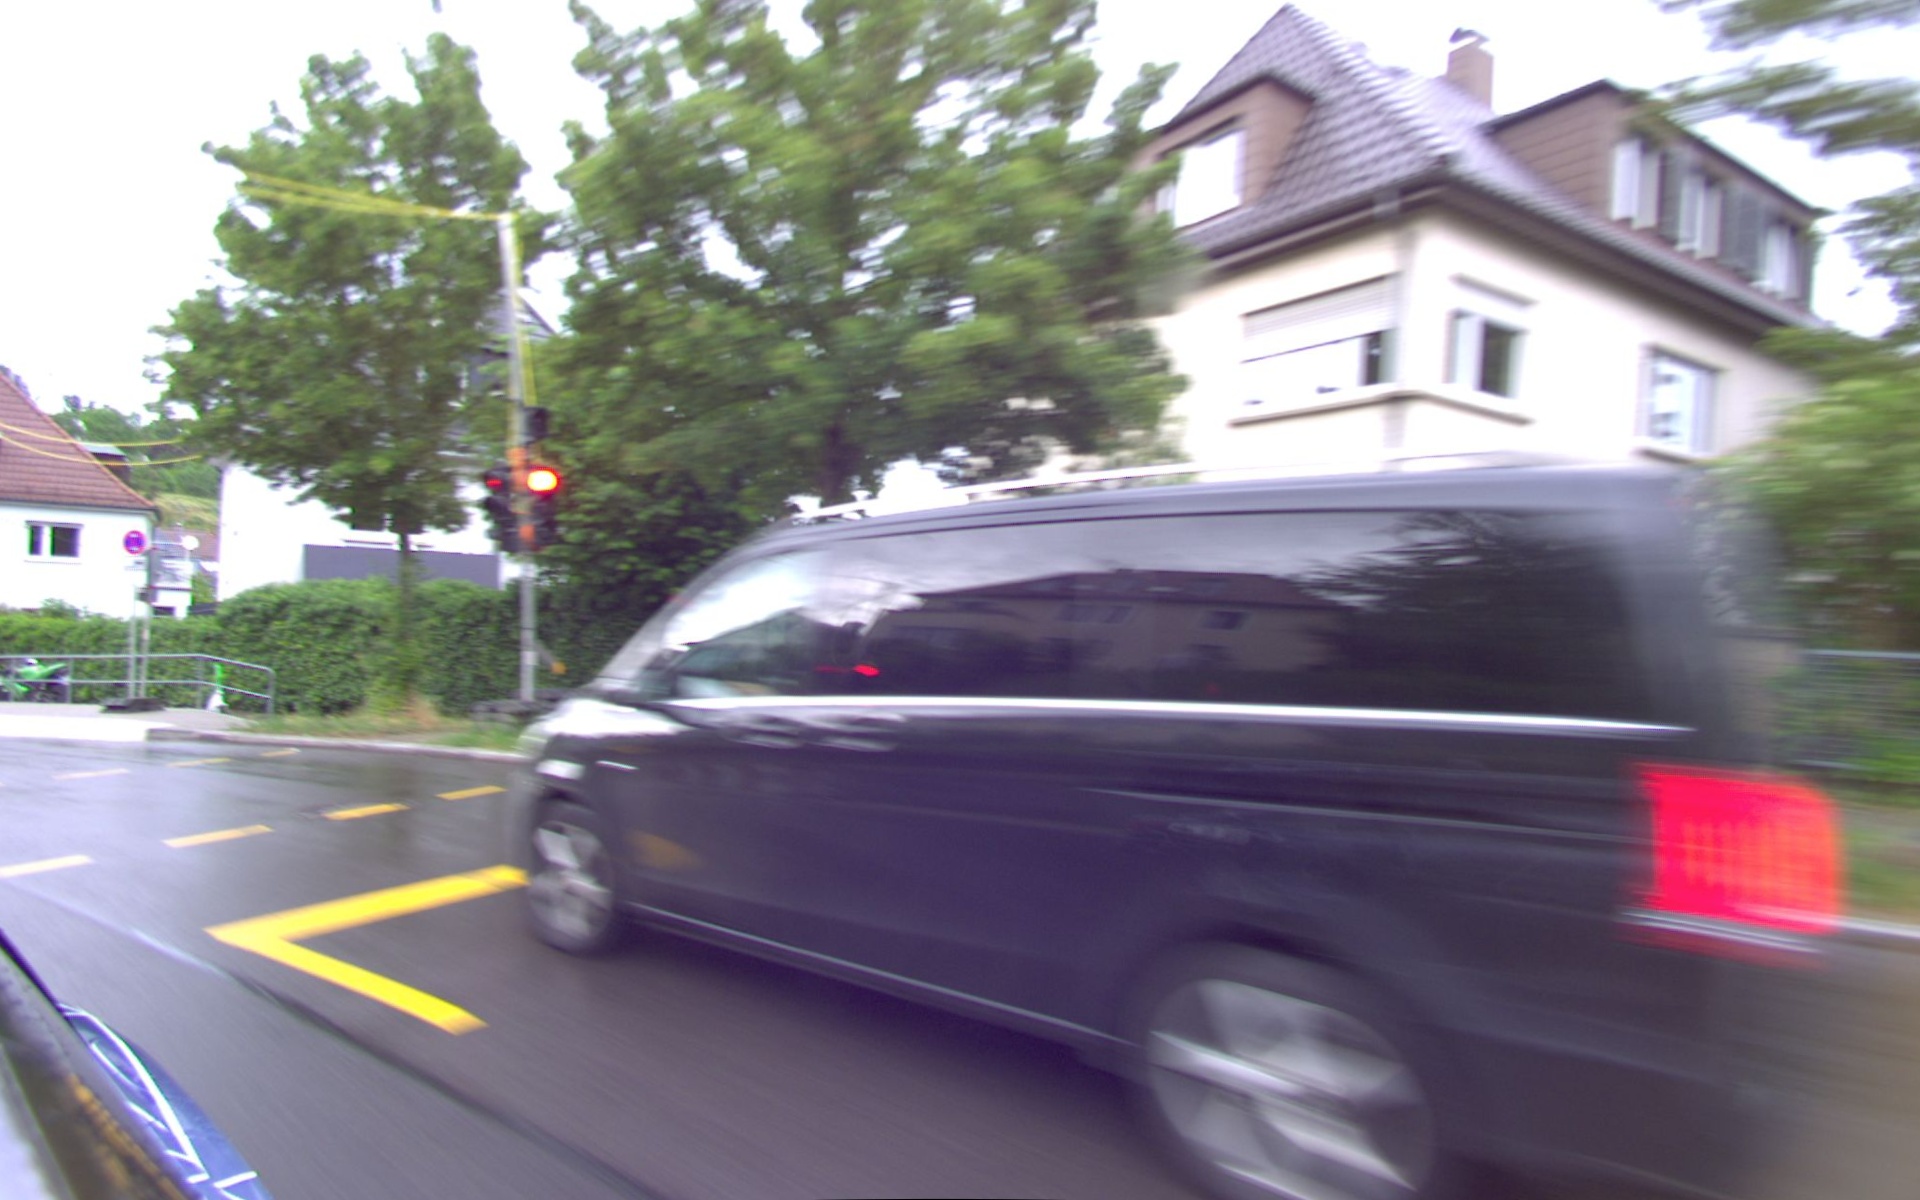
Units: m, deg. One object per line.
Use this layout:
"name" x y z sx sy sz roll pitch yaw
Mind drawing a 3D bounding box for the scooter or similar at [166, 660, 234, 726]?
"scooter or similar" -12.904 1.562 17.187 1.087 1.089 0.322 -1 -4 20

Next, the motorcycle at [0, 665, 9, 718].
"motorcycle" -19.990 1.807 20.090 2.135 1.044 0.664 -1 -4 19

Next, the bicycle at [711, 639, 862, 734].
"bicycle" -2.514 1.227 14.543 2.260 1.281 0.488 -2 -1 25

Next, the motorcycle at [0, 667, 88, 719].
"motorcycle" -17.701 1.759 19.306 1.994 0.941 0.665 -1 -4 19

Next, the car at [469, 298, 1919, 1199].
"car" 0.350 0.528 3.831 5.146 1.904 1.878 -1 -4 38
